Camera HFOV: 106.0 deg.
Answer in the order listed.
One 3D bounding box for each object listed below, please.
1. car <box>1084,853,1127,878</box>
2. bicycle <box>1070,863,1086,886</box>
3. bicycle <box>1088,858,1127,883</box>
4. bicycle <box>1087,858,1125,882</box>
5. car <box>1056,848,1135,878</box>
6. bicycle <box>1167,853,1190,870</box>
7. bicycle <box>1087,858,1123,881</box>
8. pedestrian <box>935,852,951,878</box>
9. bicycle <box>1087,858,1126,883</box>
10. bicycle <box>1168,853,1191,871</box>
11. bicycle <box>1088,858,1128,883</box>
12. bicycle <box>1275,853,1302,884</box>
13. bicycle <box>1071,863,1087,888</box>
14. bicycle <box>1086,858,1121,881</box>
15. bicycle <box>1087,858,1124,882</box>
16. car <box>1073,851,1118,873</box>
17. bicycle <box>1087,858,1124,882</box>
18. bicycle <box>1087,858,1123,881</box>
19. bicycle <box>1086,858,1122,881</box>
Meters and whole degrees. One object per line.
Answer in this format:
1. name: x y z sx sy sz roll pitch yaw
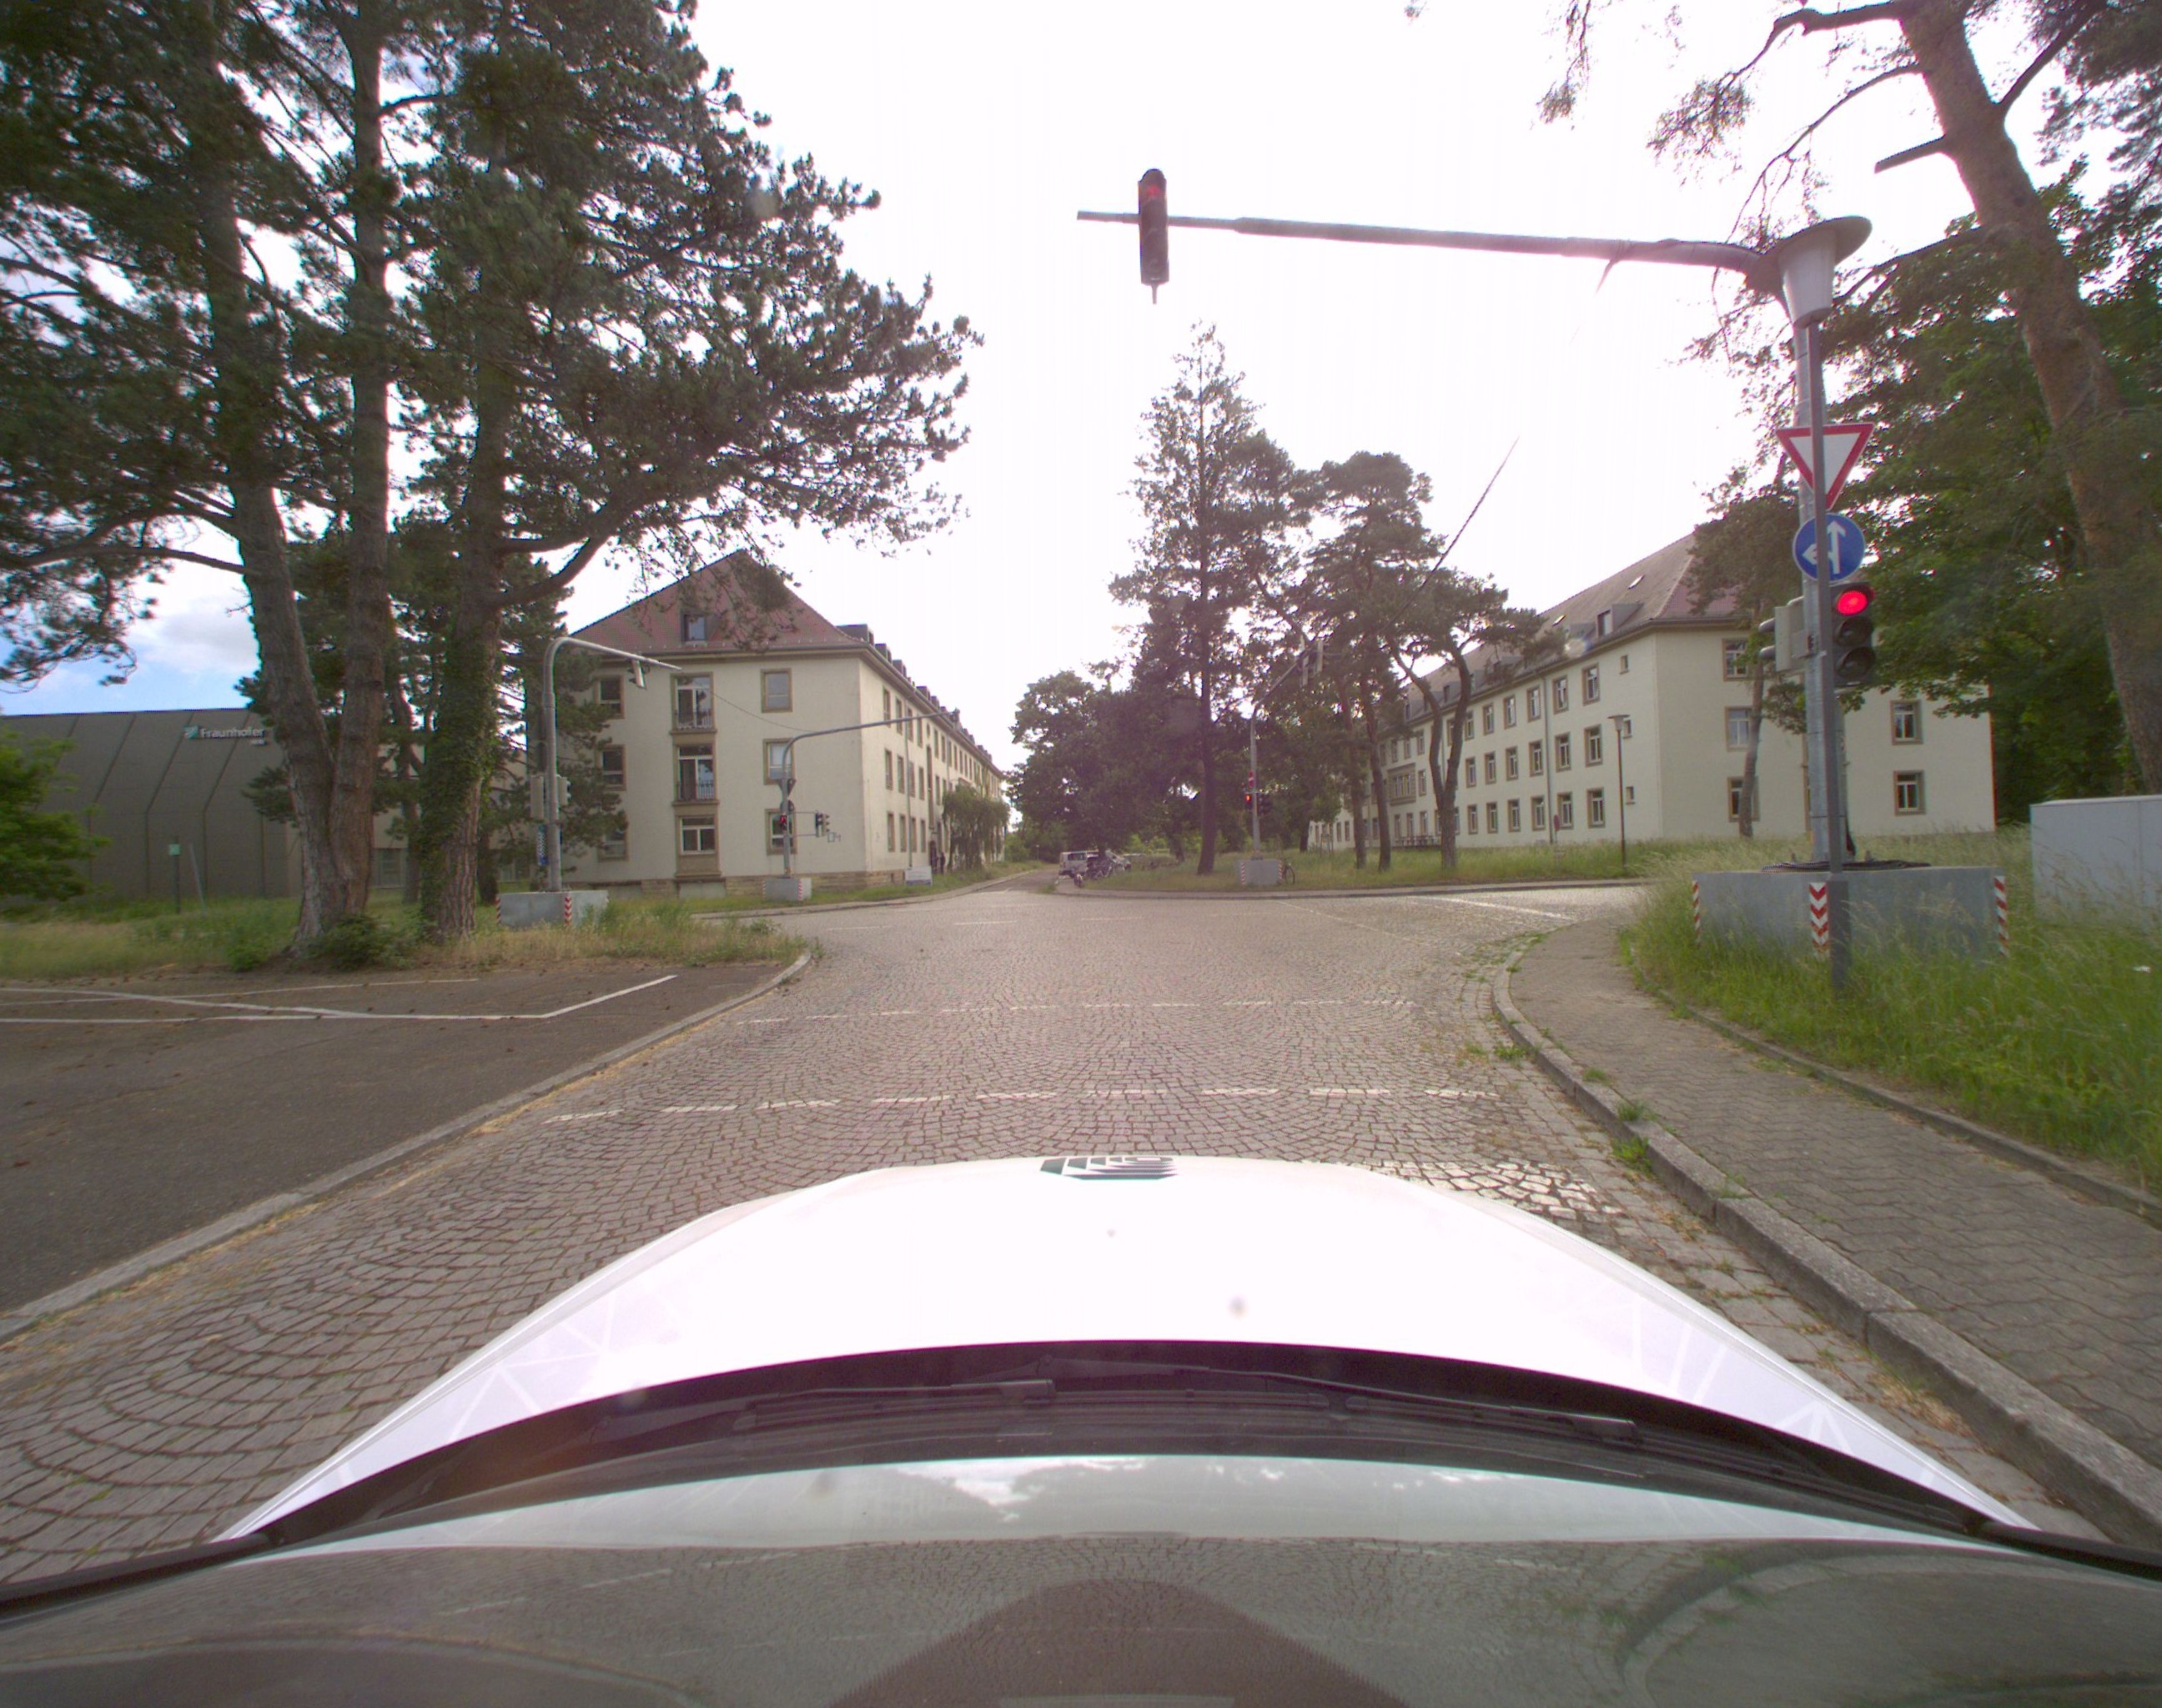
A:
1. car: 1.663 0.789 56.252 2.839 1.558 1.472 -3 1 -1
2. bicycle: -0.141 1.020 40.202 0.619 1.082 1.680 -1 -1 5
3. bicycle: 1.360 0.855 42.256 1.977 1.248 0.624 -1 -1 -2
4. bicycle: 1.342 0.868 44.041 1.977 1.248 0.624 -1 -1 -2
5. car: 1.051 0.651 59.728 5.313 1.916 2.139 -3 0 -15
6. bicycle: 6.747 0.533 56.431 1.543 1.124 0.401 -2 0 2
7. bicycle: 1.343 0.885 46.278 1.977 1.248 0.624 -1 -1 -2
8. pedestrian: -9.743 0.765 57.523 0.833 1.781 0.942 -2 0 6
9. bicycle: 1.344 0.862 43.182 1.977 1.248 0.624 -1 -1 -2
10. bicycle: 6.672 0.528 55.200 1.543 1.124 0.401 -2 0 2
11. bicycle: 1.361 0.850 41.627 1.977 1.248 0.624 -1 -1 -2
12. bicycle: 7.437 0.505 29.217 0.578 0.970 1.680 -4 1 5
13. bicycle: -0.072 0.989 38.248 0.619 1.113 1.991 -1 -1 3
14. bicycle: 1.301 0.898 47.944 1.977 1.248 0.624 -4 -1 -2
15. bicycle: 1.362 0.877 45.200 1.977 1.248 0.624 -1 -1 -2
16. car: 1.291 0.722 73.616 4.020 1.718 1.680 -3 -1 -1
17. bicycle: 1.347 0.873 44.674 1.977 1.248 0.624 -1 -1 -2
18. bicycle: 1.347 0.880 45.650 1.977 1.248 0.624 -1 -1 -2
19. bicycle: 1.320 0.889 46.791 1.977 1.248 0.624 -1 -1 -2
